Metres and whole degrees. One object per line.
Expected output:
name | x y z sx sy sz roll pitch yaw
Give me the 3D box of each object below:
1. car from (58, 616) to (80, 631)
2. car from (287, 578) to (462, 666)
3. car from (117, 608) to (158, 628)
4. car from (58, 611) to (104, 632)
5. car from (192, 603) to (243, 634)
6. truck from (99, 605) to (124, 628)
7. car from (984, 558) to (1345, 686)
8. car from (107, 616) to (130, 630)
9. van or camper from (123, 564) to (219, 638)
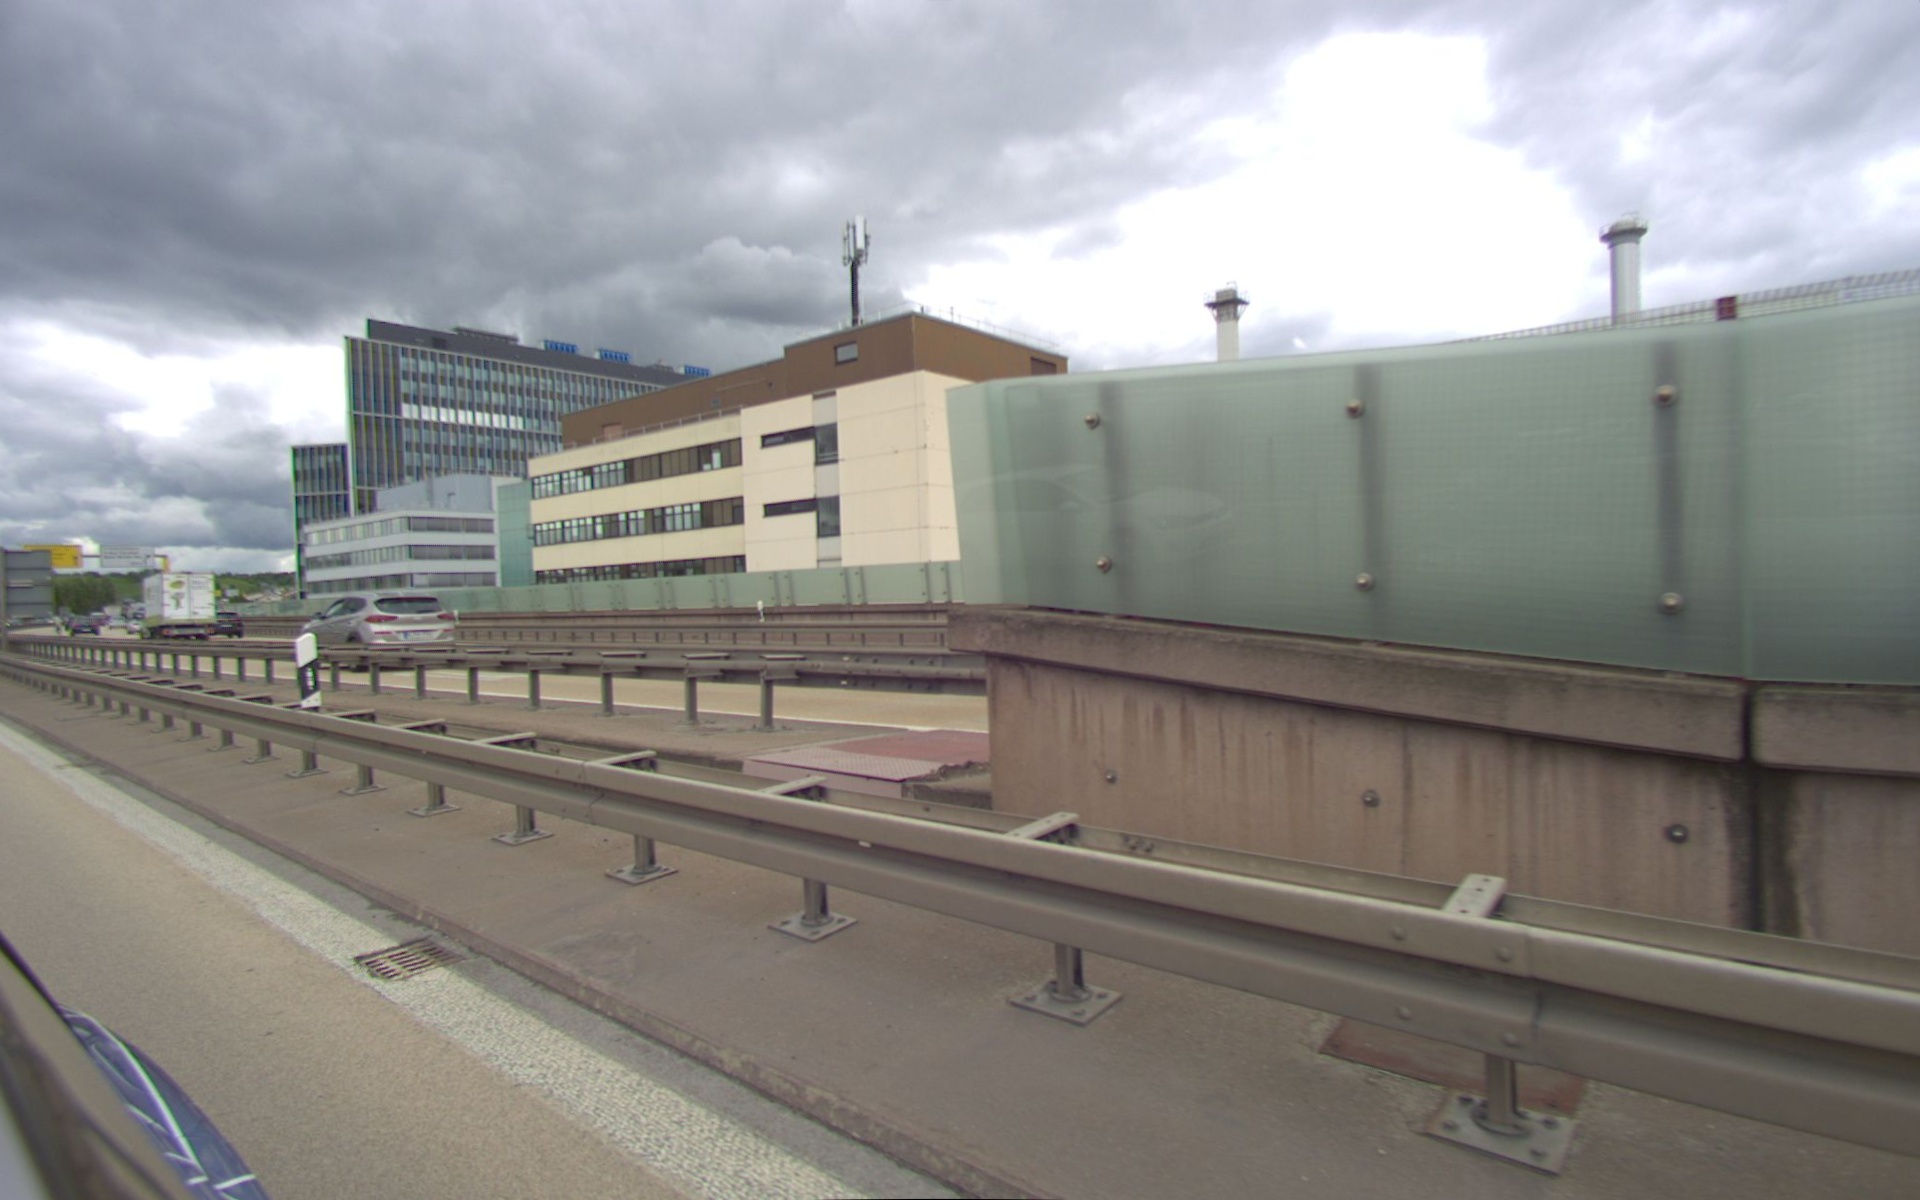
car | -99.819 2.662 113.379 1.732 1.631 4.822 0 -1 -40
car | -12.532 0.460 21.565 4.404 1.685 1.826 -2 0 40
car | -67.739 1.489 83.302 4.813 1.623 1.897 -2 -1 42
car | -70.143 1.700 80.744 4.810 1.623 2.002 -2 -1 40
car | -43.651 1.097 59.440 4.370 1.761 1.735 -2 -1 44
truck | -152.735 2.987 182.254 3.221 3.887 13.075 -2 0 -39
car | 2.614 0.285 13.488 4.390 1.442 1.743 -2 0 38
car | -97.739 2.656 117.588 3.686 1.609 1.664 -2 -1 44
van or camper | -38.759 0.074 49.618 6.950 3.413 2.380 -1 0 41
